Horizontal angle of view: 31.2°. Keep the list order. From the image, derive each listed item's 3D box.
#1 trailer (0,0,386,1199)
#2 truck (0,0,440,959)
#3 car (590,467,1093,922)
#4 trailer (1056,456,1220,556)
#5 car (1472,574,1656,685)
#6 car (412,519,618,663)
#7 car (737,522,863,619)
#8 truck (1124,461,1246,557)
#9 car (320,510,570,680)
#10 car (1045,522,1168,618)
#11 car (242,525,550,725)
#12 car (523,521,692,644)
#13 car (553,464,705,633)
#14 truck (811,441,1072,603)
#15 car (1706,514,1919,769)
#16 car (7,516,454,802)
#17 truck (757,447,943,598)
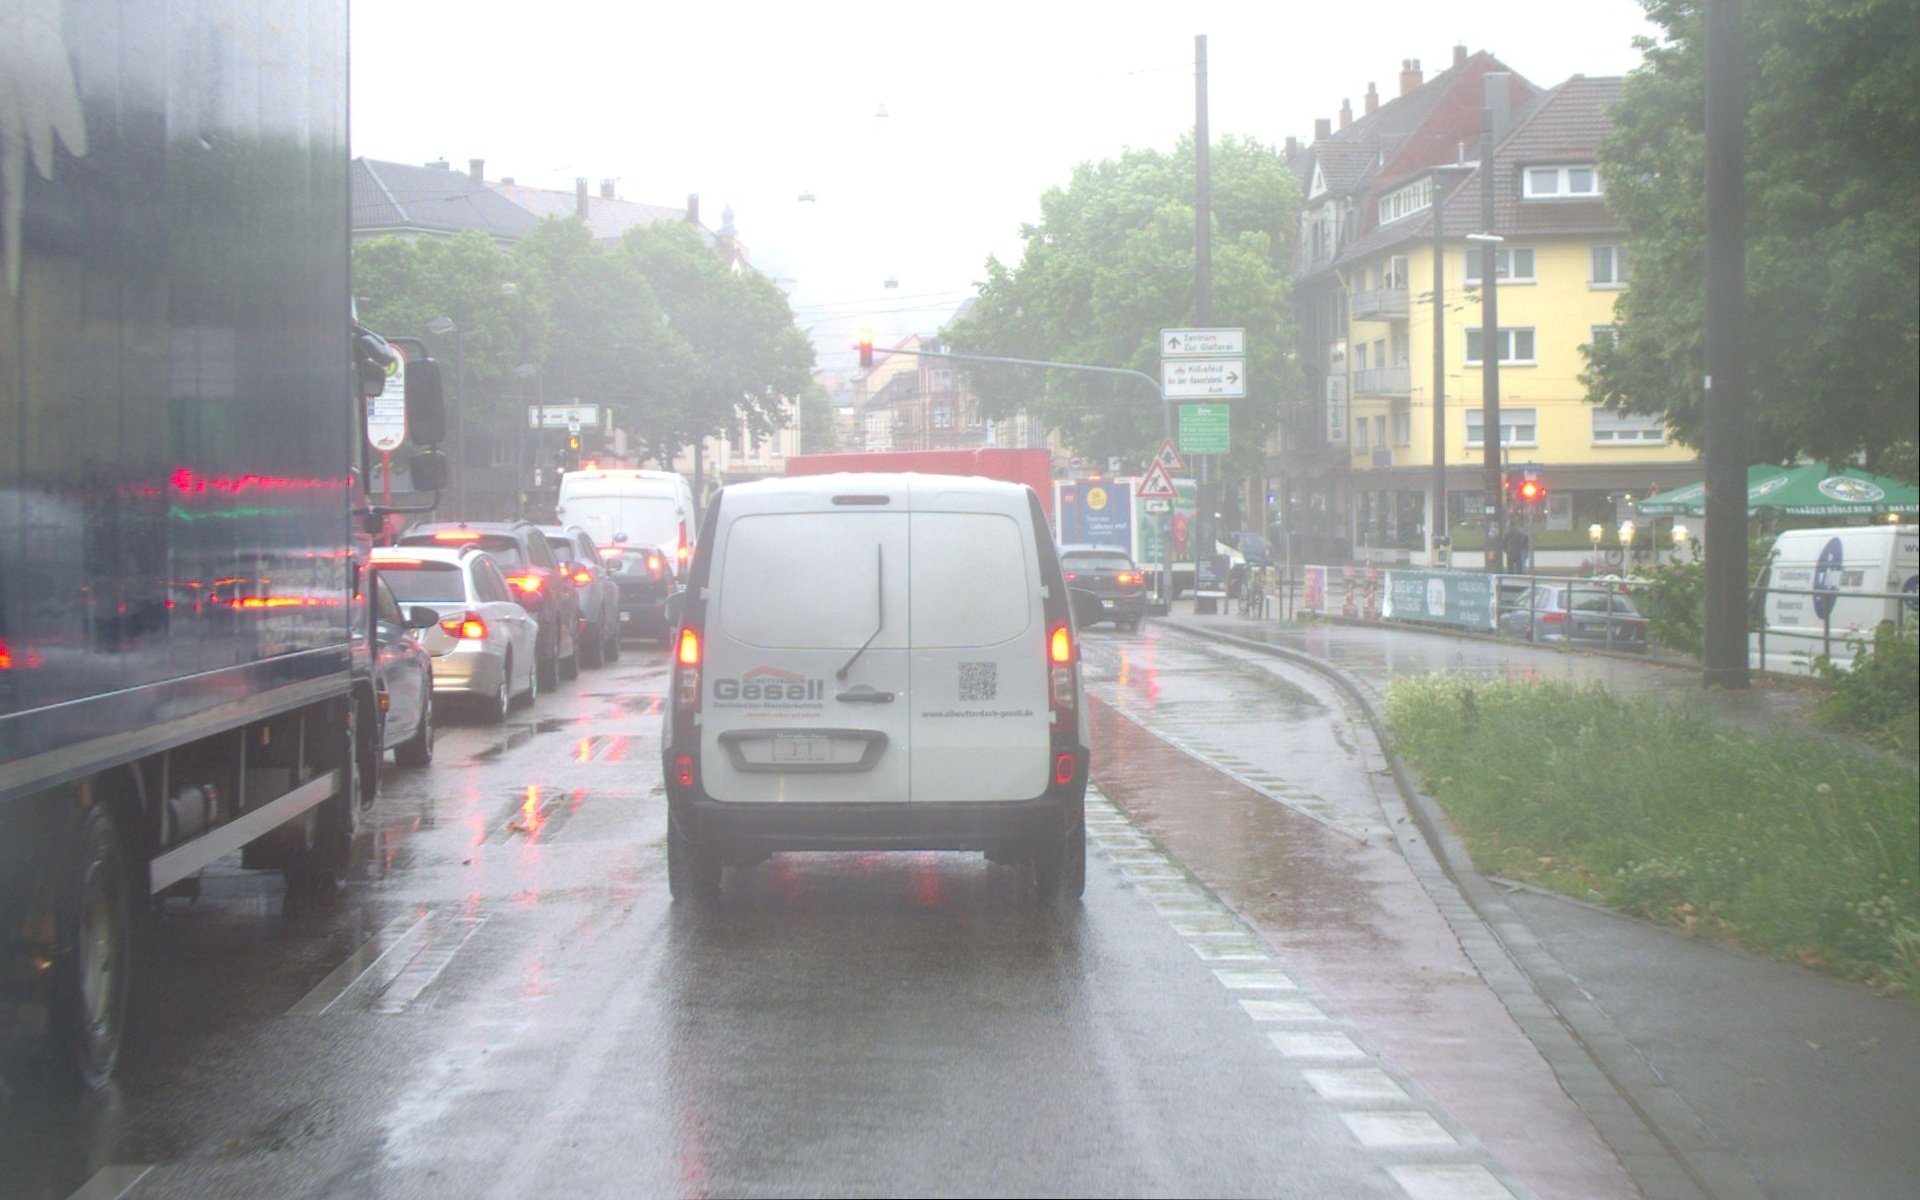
[{"bbox_3d":[-3.464,-0.616,10.234,2.590,3.886,7.637,0,1,-3],"label":"trailer"},{"bbox_3d":[-3.680,-0.700,14.320,2.580,3.891,4.001,0,1,-3],"label":"truck"},{"bbox_3d":[-0.520,0.367,15.239,1.959,1.771,3.570,0,0,-2],"label":"car"},{"bbox_3d":[4.358,-2.243,83.460,1.997,2.309,4.660,0,0,31],"label":"trailer"},{"bbox_3d":[9.189,0.415,52.651,1.822,1.485,4.353,-2,2,-3],"label":"car"},{"bbox_3d":[-5.202,-0.129,40.692,1.993,1.573,4.292,1,1,-2],"label":"car"},{"bbox_3d":[-2.500,-0.464,54.362,1.760,1.464,3.533,1,0,1],"label":"car"},{"bbox_3d":[5.598,-2.236,85.391,1.997,2.291,2.644,0,0,31],"label":"truck"},{"bbox_3d":[-5.121,-0.075,34.718,1.993,1.573,4.292,1,1,-2],"label":"car"},{"bbox_3d":[2.445,-0.520,57.509,1.994,1.536,4.000,0,1,2],"label":"car"},{"bbox_3d":[-4.636,0.148,28.830,1.993,1.467,4.267,1,2,-2],"label":"car"},{"bbox_3d":[-4.805,-0.263,47.369,1.993,1.573,4.292,1,1,-2],"label":"car"},{"bbox_3d":[-5.039,-0.782,52.880,1.993,2.434,4.612,1,1,-2],"label":"car"},{"bbox_3d":[-0.761,-2.520,111.053,3.278,4.882,11.402,-2,2,-29],"label":"truck"},{"bbox_3d":[10.250,0.356,38.265,2.179,2.523,5.779,-2,2,-4],"label":"car"},{"bbox_3d":[-4.418,0.282,21.465,1.993,1.532,4.133,-2,2,-2],"label":"car"},{"bbox_3d":[-3.802,-2.631,116.755,3.278,4.883,7.182,-2,2,-29],"label":"truck"}]
